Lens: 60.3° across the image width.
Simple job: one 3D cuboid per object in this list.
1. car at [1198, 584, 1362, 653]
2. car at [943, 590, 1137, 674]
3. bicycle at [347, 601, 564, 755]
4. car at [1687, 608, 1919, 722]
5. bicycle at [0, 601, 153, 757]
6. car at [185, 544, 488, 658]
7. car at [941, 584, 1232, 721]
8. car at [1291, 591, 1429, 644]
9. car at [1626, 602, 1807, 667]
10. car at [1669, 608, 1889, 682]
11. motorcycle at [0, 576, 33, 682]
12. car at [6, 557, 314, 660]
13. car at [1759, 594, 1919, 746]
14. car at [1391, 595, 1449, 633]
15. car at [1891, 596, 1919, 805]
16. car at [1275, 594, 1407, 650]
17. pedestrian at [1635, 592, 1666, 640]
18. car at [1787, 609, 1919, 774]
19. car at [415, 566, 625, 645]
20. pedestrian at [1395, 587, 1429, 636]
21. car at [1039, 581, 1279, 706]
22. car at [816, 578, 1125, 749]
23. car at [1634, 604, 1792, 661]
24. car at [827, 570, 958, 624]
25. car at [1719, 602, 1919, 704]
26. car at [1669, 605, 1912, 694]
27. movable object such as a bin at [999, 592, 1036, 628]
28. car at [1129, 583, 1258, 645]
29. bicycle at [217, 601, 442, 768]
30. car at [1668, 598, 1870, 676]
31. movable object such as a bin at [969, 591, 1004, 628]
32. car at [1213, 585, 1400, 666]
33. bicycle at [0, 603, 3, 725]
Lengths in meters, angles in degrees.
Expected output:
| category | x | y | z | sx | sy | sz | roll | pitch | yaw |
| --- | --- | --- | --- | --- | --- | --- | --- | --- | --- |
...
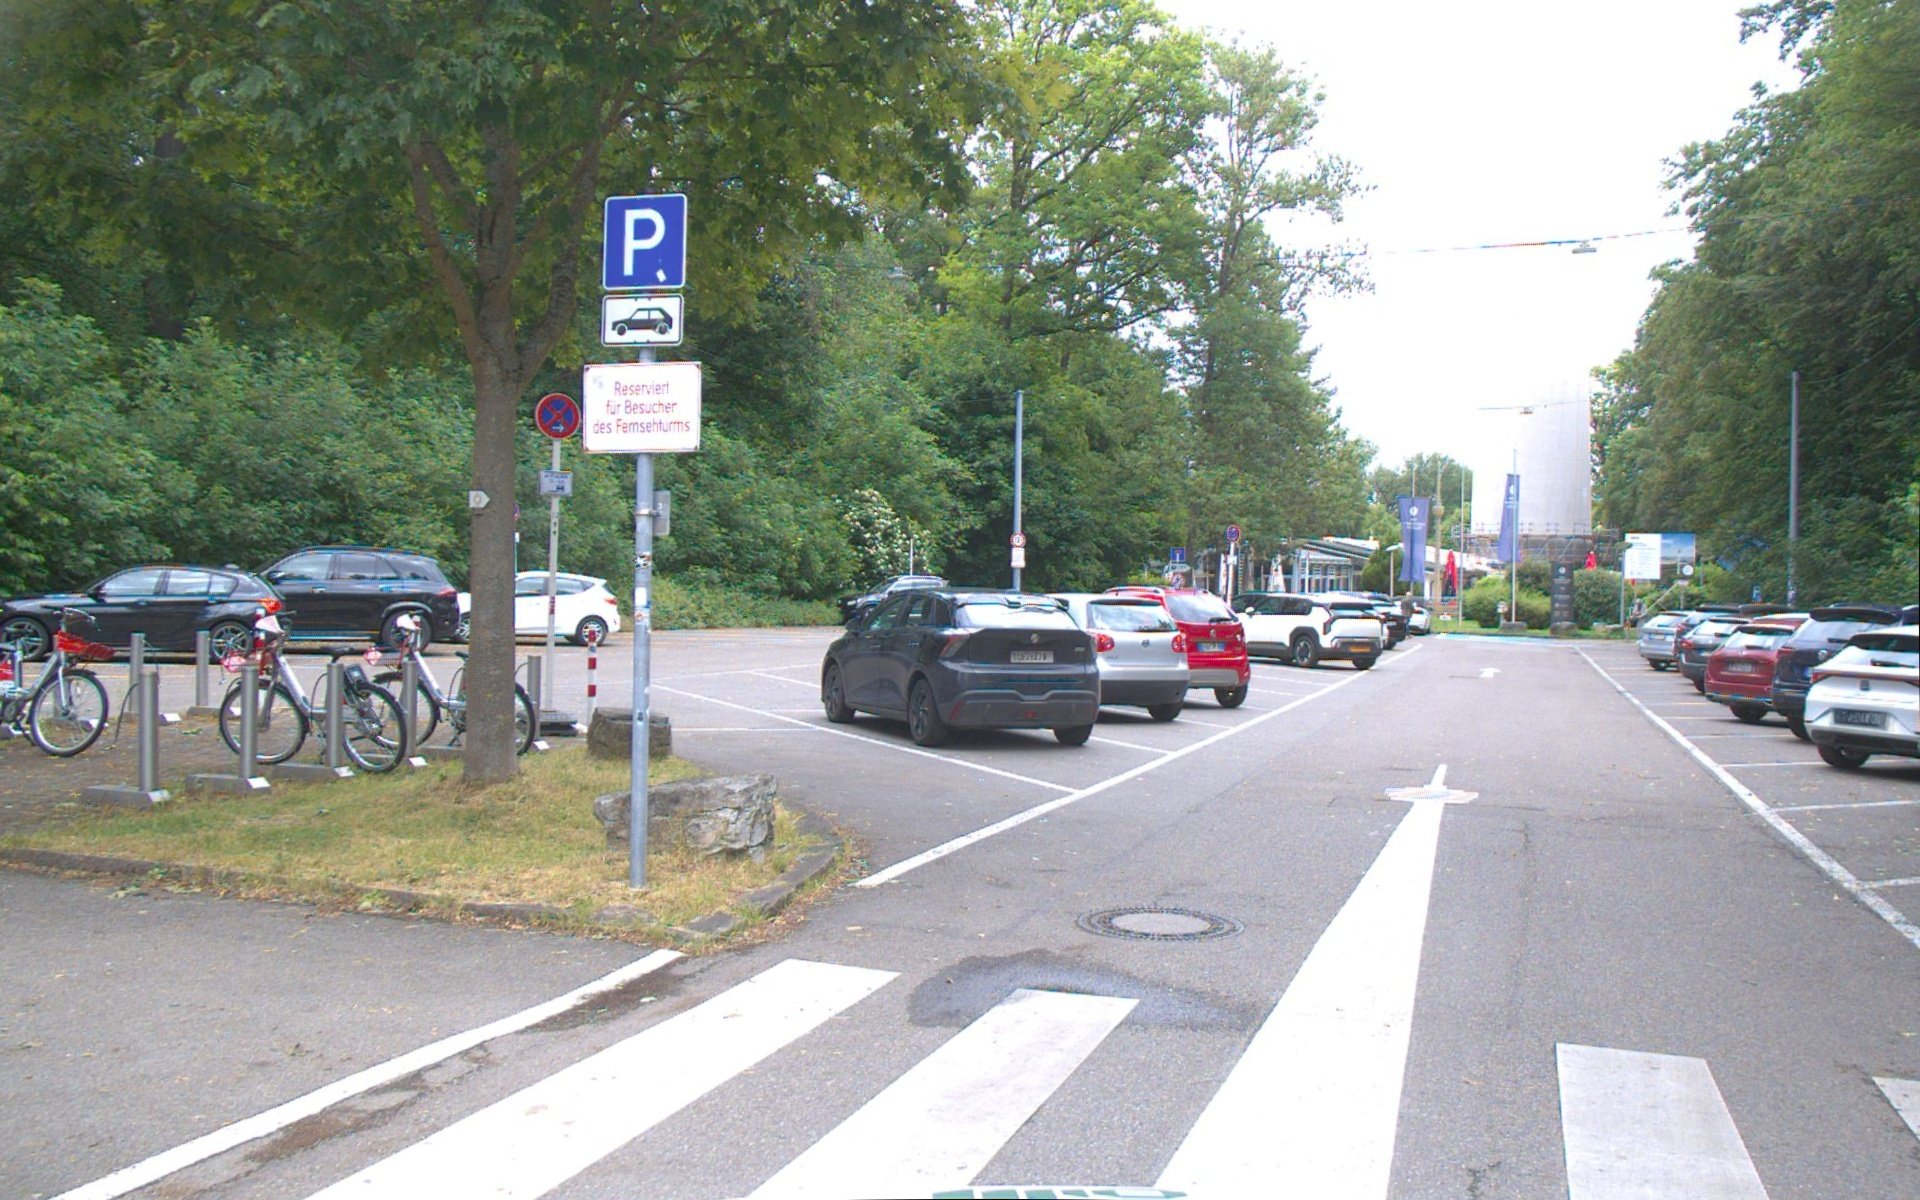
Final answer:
| category | x | y | z | sx | sy | sz | roll | pitch | yaw |
| --- | --- | --- | --- | --- | --- | --- | --- | --- | --- |
| car | 7.940 | 0.437 | 41.322 | 1.849 | 1.581 | 3.957 | 1 | 1 | -32 |
| car | 1.468 | 0.581 | 32.001 | 1.842 | 1.467 | 4.277 | 1 | 0 | -28 |
| bicycle | -4.052 | 0.603 | 13.260 | 1.747 | 1.131 | 0.482 | 2 | 0 | 23 |
| car | 12.531 | 0.902 | 23.122 | 4.221 | 1.438 | 1.916 | 2 | 0 | -21 |
| bicycle | -7.132 | 0.595 | 12.987 | 1.647 | 1.131 | 0.505 | 2 | 0 | 26 |
| car | -10.580 | 0.031 | 28.124 | 4.633 | 1.798 | 2.096 | 1 | 0 | -25 |
| car | 1.484 | 0.596 | 20.882 | 1.849 | 1.509 | 3.964 | 2 | 0 | -27 |
| car | 12.125 | 0.511 | 50.389 | 1.733 | 1.468 | 4.242 | 1 | 0 | -27 |
| car | 18.507 | 0.828 | 40.470 | 3.930 | 1.492 | 1.824 | 1 | 1 | -21 |
| car | 16.761 | 0.909 | 33.834 | 4.199 | 1.401 | 1.948 | 1 | 0 | -28 |
| motorcycle | -12.145 | 0.313 | 19.462 | 1.989 | 1.229 | 0.728 | 2 | 0 | -15 |
| car | -11.740 | 0.135 | 24.490 | 3.936 | 1.400 | 1.726 | 2 | 0 | -25 |
| car | 11.821 | 0.811 | 19.804 | 4.049 | 1.646 | 1.830 | 1 | 0 | -23 |
| car | 18.405 | 0.536 | 66.075 | 1.854 | 1.453 | 4.000 | 1 | 1 | 21 |
| car | 9.579 | 0.838 | 13.065 | 4.140 | 1.607 | 1.940 | 1 | 0 | -28 |
| car | 10.910 | 0.607 | 47.567 | 1.744 | 1.468 | 3.816 | 1 | 0 | -25 |
| pedestrian | 25.535 | 0.591 | 61.167 | 0.751 | 1.755 | 0.891 | 2 | 0 | 43 |
| car | 10.391 | 0.885 | 16.256 | 4.049 | 1.463 | 1.857 | 1 | 0 | -23 |
| car | -9.082 | 0.106 | 34.152 | 3.936 | 1.537 | 1.855 | 1 | 0 | -25 |
| pedestrian | 16.655 | 0.430 | 60.915 | 0.882 | 1.755 | 0.759 | 1 | 0 | -24 |
| car | 2.773 | 0.565 | 23.751 | 1.662 | 1.613 | 3.621 | 1 | 0 | -28 |
| car | -0.033 | 0.578 | 17.348 | 1.799 | 1.549 | 4.072 | 2 | 0 | -22 |
| car | 21.577 | 0.938 | 47.385 | 4.137 | 1.488 | 1.885 | 1 | 1 | -25 |
| car | -2.290 | -0.101 | 56.073 | 4.005 | 1.714 | 1.866 | 1 | 0 | -24 |
| car | 14.303 | 0.846 | 26.827 | 3.523 | 1.531 | 1.723 | 1 | 0 | -24 |
| car | 15.073 | 0.879 | 30.010 | 4.120 | 1.483 | 1.791 | 1 | 0 | -25 |
| movable object such as a bin | 2.161 | 0.372 | 62.570 | 1.147 | 1.330 | 1.310 | 1 | 0 | -10 |
| car | 6.870 | 0.396 | 49.049 | 1.870 | 1.692 | 3.965 | 1 | 0 | -27 |
| bicycle | -4.638 | 0.594 | 12.154 | 1.646 | 1.131 | 0.482 | 2 | 0 | 23 |
| car | 18.419 | 0.846 | 37.635 | 4.195 | 1.665 | 1.950 | 1 | 0 | -25 |
| movable object such as a bin | 1.004 | 0.356 | 62.378 | 1.103 | 1.337 | 1.182 | 1 | 0 | -10 |
| car | 7.575 | 0.522 | 36.539 | 1.819 | 1.624 | 4.153 | 1 | 1 | -27 |
| bicycle | -7.724 | 0.563 | 12.049 | 1.659 | 1.131 | 0.482 | 2 | 0 | 28 |
